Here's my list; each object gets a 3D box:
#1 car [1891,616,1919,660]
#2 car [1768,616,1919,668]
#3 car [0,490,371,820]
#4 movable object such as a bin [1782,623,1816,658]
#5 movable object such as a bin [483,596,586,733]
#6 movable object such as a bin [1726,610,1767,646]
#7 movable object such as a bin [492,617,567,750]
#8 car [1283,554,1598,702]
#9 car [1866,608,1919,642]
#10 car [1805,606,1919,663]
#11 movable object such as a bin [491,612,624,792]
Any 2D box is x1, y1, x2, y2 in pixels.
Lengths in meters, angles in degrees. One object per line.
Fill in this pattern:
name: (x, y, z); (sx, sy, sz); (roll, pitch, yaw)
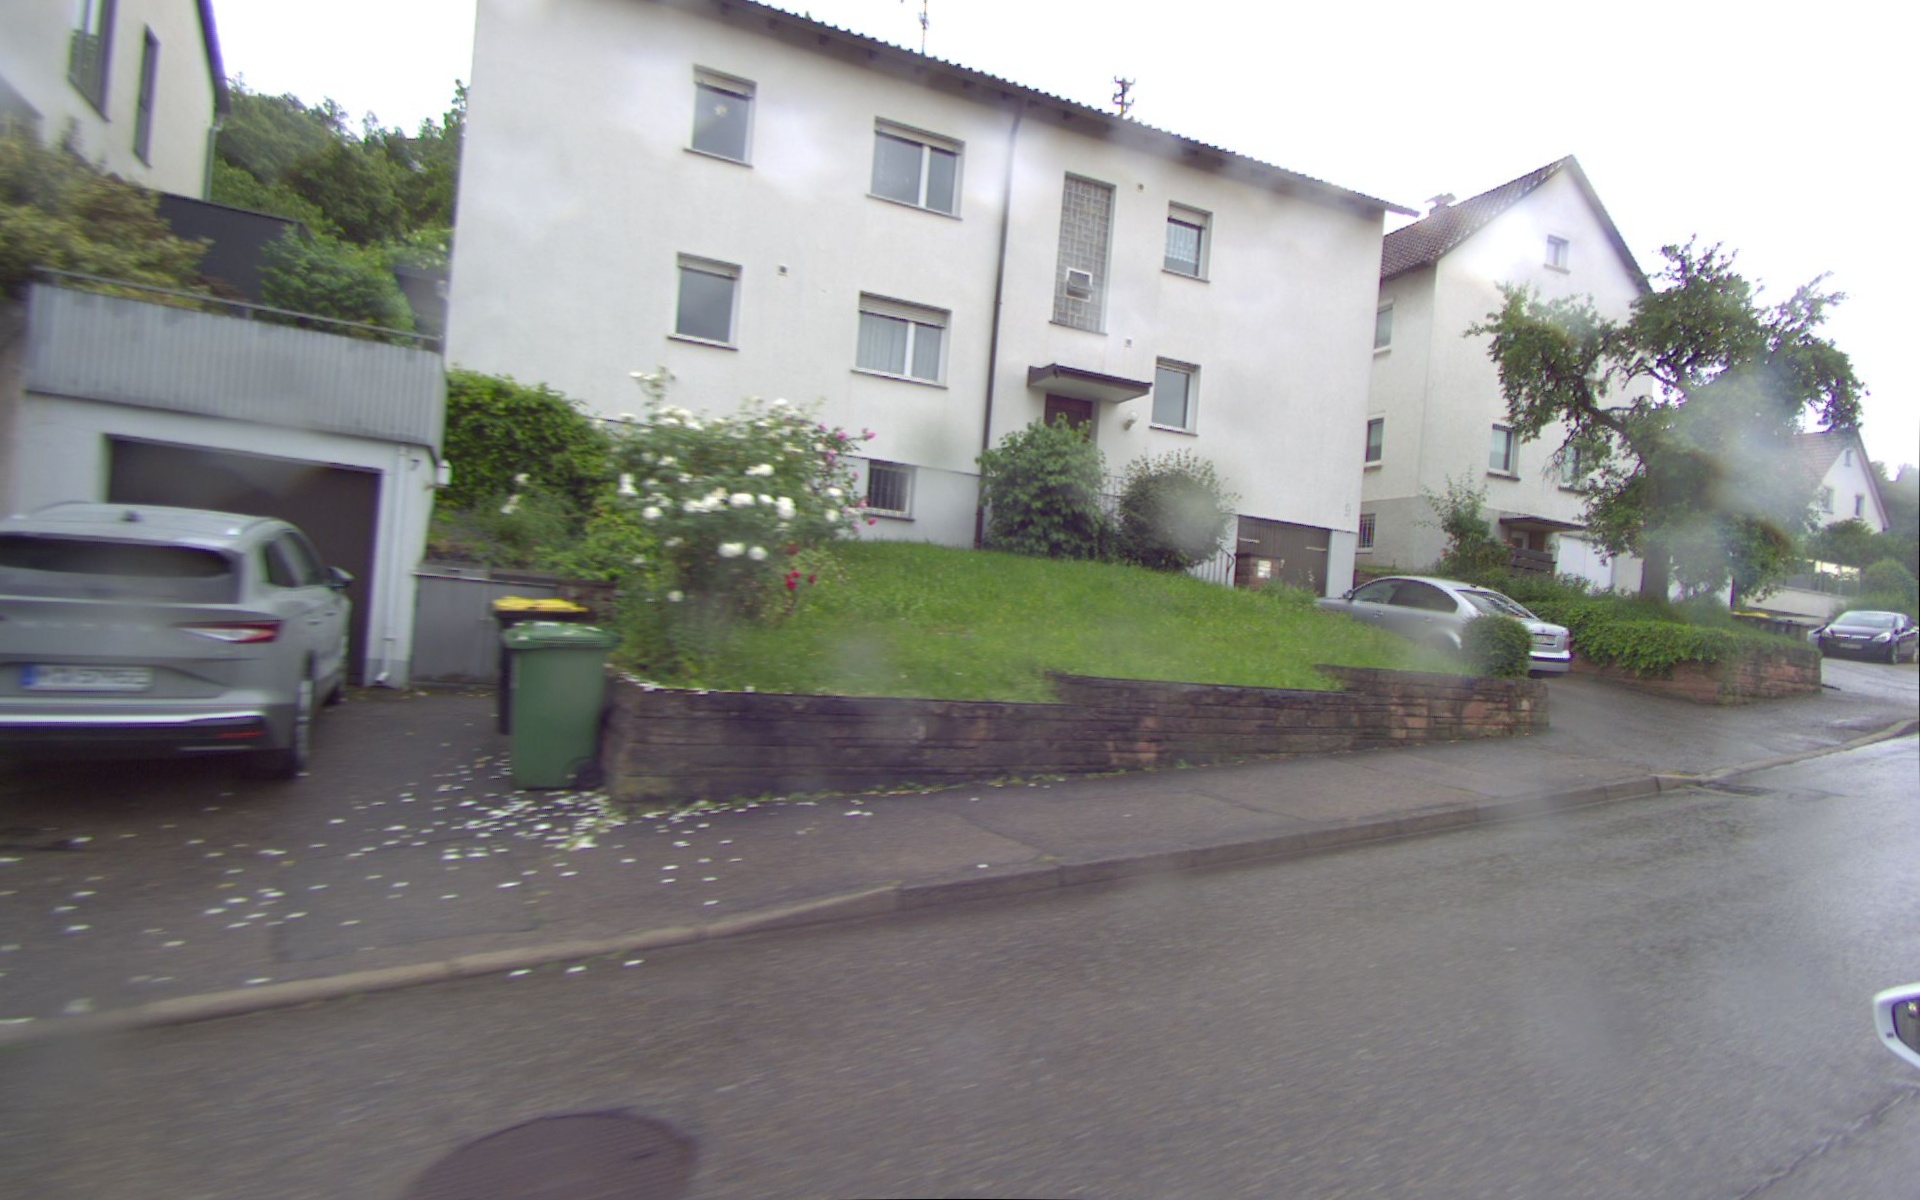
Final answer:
car: (37.183, 1.466, 38.564); (4.387, 1.618, 1.786); (2, -1, -43)
car: (29.781, 1.457, 33.613); (1.781, 1.496, 3.814); (2, -6, -28)
car: (-5.472, 0.122, 7.175); (1.908, 1.636, 4.490); (2, 4, -28)
movable object such as a bin: (27.014, 1.303, 32.356); (0.549, 1.092, 0.651); (1, 0, -22)
movable object such as a bin: (-3.513, 0.513, 8.279); (0.702, 1.033, 0.534); (1, 5, -30)
movable object such as a bin: (23.912, 0.836, 30.548); (0.692, 1.071, 0.747); (1, -1, -27)
movable object such as a bin: (-3.335, 0.631, 7.762); (0.488, 0.937, 0.483); (2, 5, -26)
car: (7.204, 0.330, 15.623); (1.741, 1.451, 4.242); (3, 8, -22)
car: (58.116, 1.517, 60.354); (2.113, 1.970, 5.067); (2, 0, -26)
car: (26.566, 1.012, 29.406); (4.207, 1.395, 1.753); (2, 3, -36)
movable object such as a bin: (-2.728, 0.664, 6.792); (0.734, 1.090, 0.535); (1, 6, -30)
